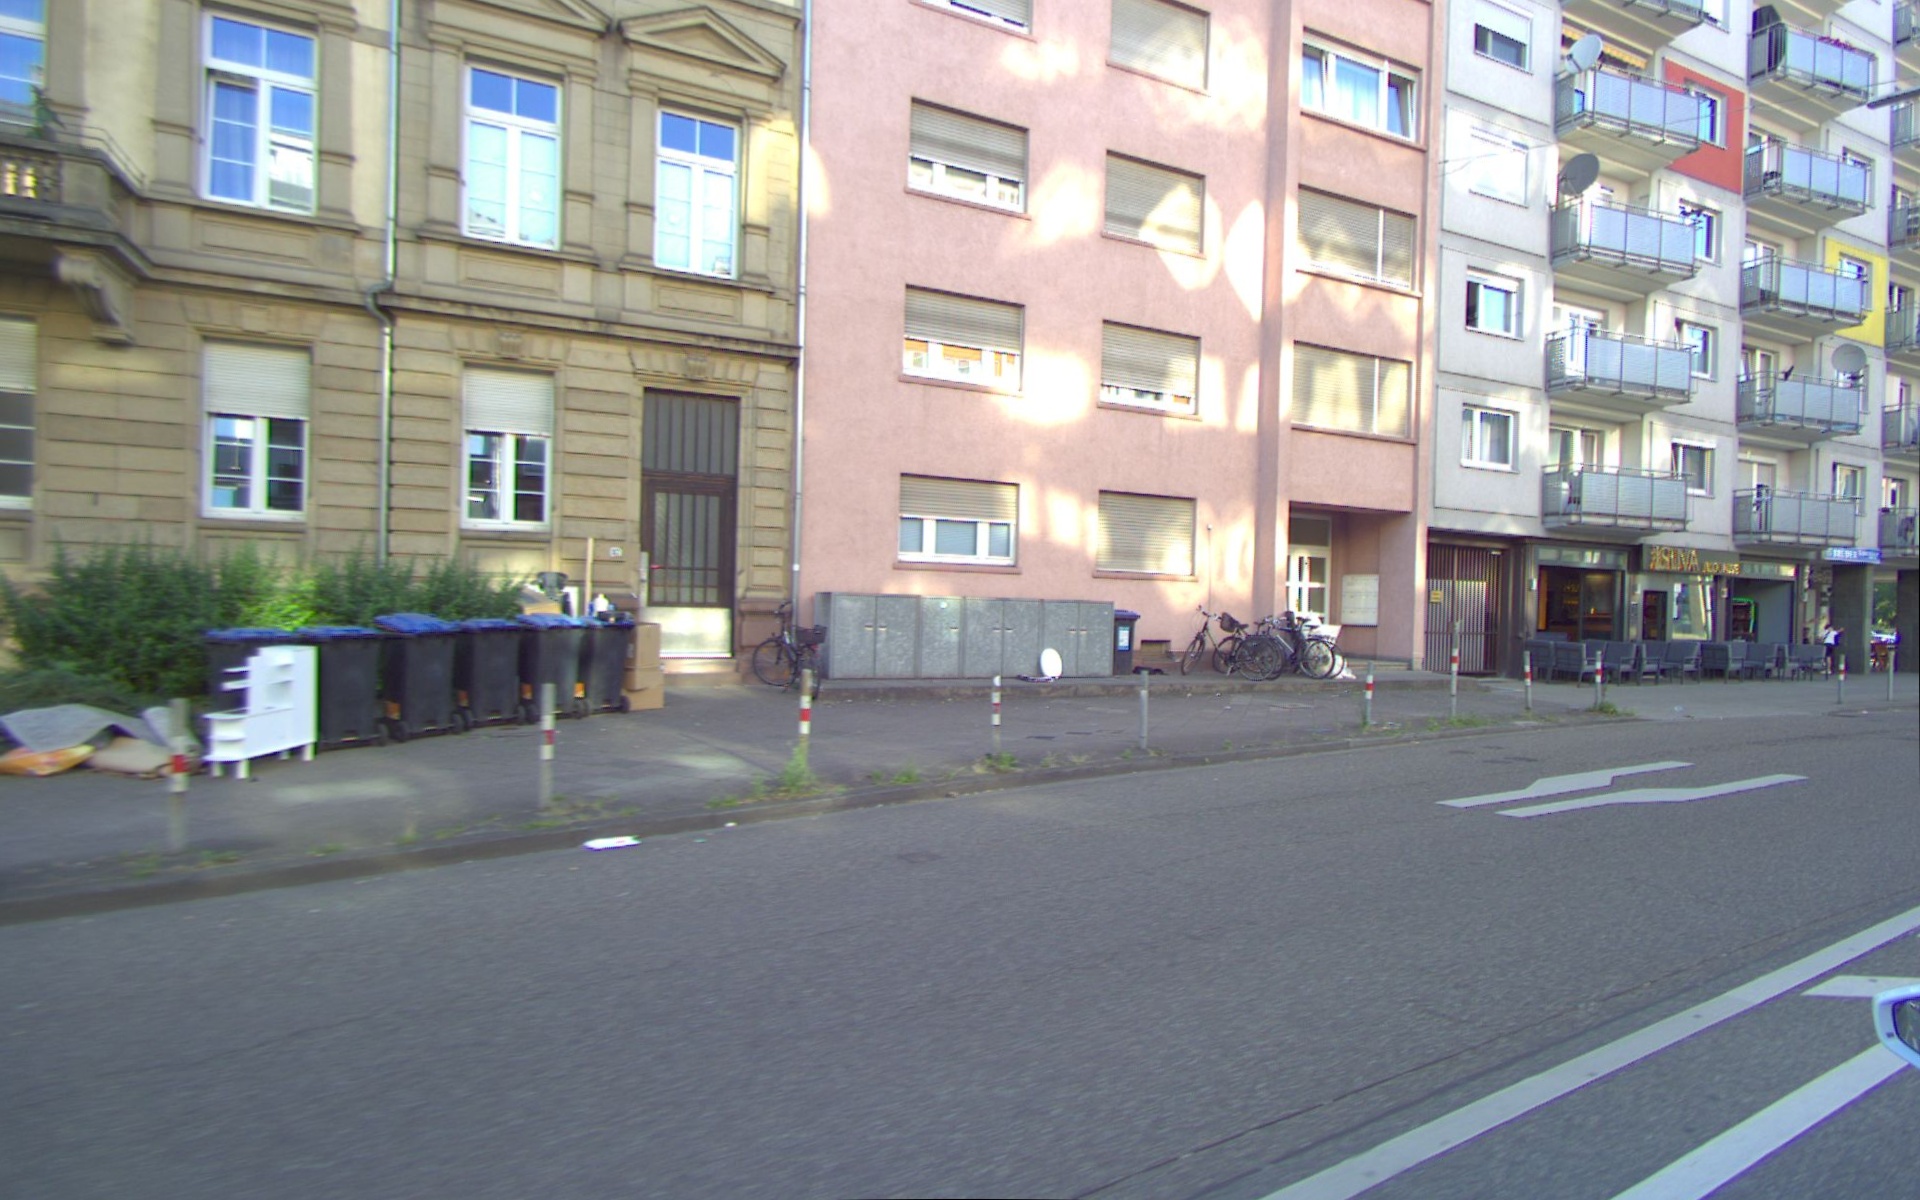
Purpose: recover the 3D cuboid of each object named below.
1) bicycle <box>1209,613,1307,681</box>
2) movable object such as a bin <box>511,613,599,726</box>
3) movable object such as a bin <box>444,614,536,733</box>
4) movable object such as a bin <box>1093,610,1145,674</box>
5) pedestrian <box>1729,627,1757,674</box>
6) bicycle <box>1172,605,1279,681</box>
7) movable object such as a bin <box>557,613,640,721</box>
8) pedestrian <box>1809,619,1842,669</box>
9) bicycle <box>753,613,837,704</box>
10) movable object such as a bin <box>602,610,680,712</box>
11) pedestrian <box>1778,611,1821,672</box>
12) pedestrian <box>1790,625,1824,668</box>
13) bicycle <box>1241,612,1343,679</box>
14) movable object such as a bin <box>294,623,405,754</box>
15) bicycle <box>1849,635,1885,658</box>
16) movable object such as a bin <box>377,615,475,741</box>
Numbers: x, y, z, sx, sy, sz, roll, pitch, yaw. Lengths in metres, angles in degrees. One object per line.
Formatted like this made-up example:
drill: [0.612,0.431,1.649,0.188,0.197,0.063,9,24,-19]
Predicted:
bicycle: [5.147,0.788,17.447,0.543,1.054,1.660,2,1,-31]
movable object such as a bin: [-4.309,0.718,10.695,0.631,1.126,0.582,4,2,35]
movable object such as a bin: [-4.786,0.726,10.233,0.631,1.126,0.582,4,2,35]
movable object such as a bin: [2.686,0.698,17.017,0.581,1.045,0.673,1,0,-25]
pedestrian: [20.978,1.350,26.927,0.514,1.219,0.551,1,0,33]
bicycle: [4.474,0.705,17.011,1.649,1.176,0.494,3,1,40]
movable object such as a bin: [-4.042,0.729,11.242,0.631,1.126,0.582,4,2,35]
pedestrian: [24.857,1.256,28.855,0.472,1.402,0.484,1,0,-5]
bicycle: [-2.286,0.763,13.734,0.653,0.980,1.642,1,6,-26]
movable object such as a bin: [-3.759,0.699,11.846,0.631,1.126,0.582,4,2,35]
pedestrian: [24.094,1.178,28.851,0.764,1.723,0.560,1,0,19]
pedestrian: [25.664,1.409,30.438,0.521,1.256,0.557,1,0,-11]
bicycle: [5.868,0.790,17.838,0.545,1.054,1.656,1,1,-39]
movable object such as a bin: [-5.498,0.771,9.055,0.631,1.082,0.625,4,2,34]
bicycle: [37.242,1.907,41.245,1.681,0.919,0.494,1,0,-26]
movable object such as a bin: [-5.153,0.732,9.698,0.631,1.126,0.582,4,2,35]
